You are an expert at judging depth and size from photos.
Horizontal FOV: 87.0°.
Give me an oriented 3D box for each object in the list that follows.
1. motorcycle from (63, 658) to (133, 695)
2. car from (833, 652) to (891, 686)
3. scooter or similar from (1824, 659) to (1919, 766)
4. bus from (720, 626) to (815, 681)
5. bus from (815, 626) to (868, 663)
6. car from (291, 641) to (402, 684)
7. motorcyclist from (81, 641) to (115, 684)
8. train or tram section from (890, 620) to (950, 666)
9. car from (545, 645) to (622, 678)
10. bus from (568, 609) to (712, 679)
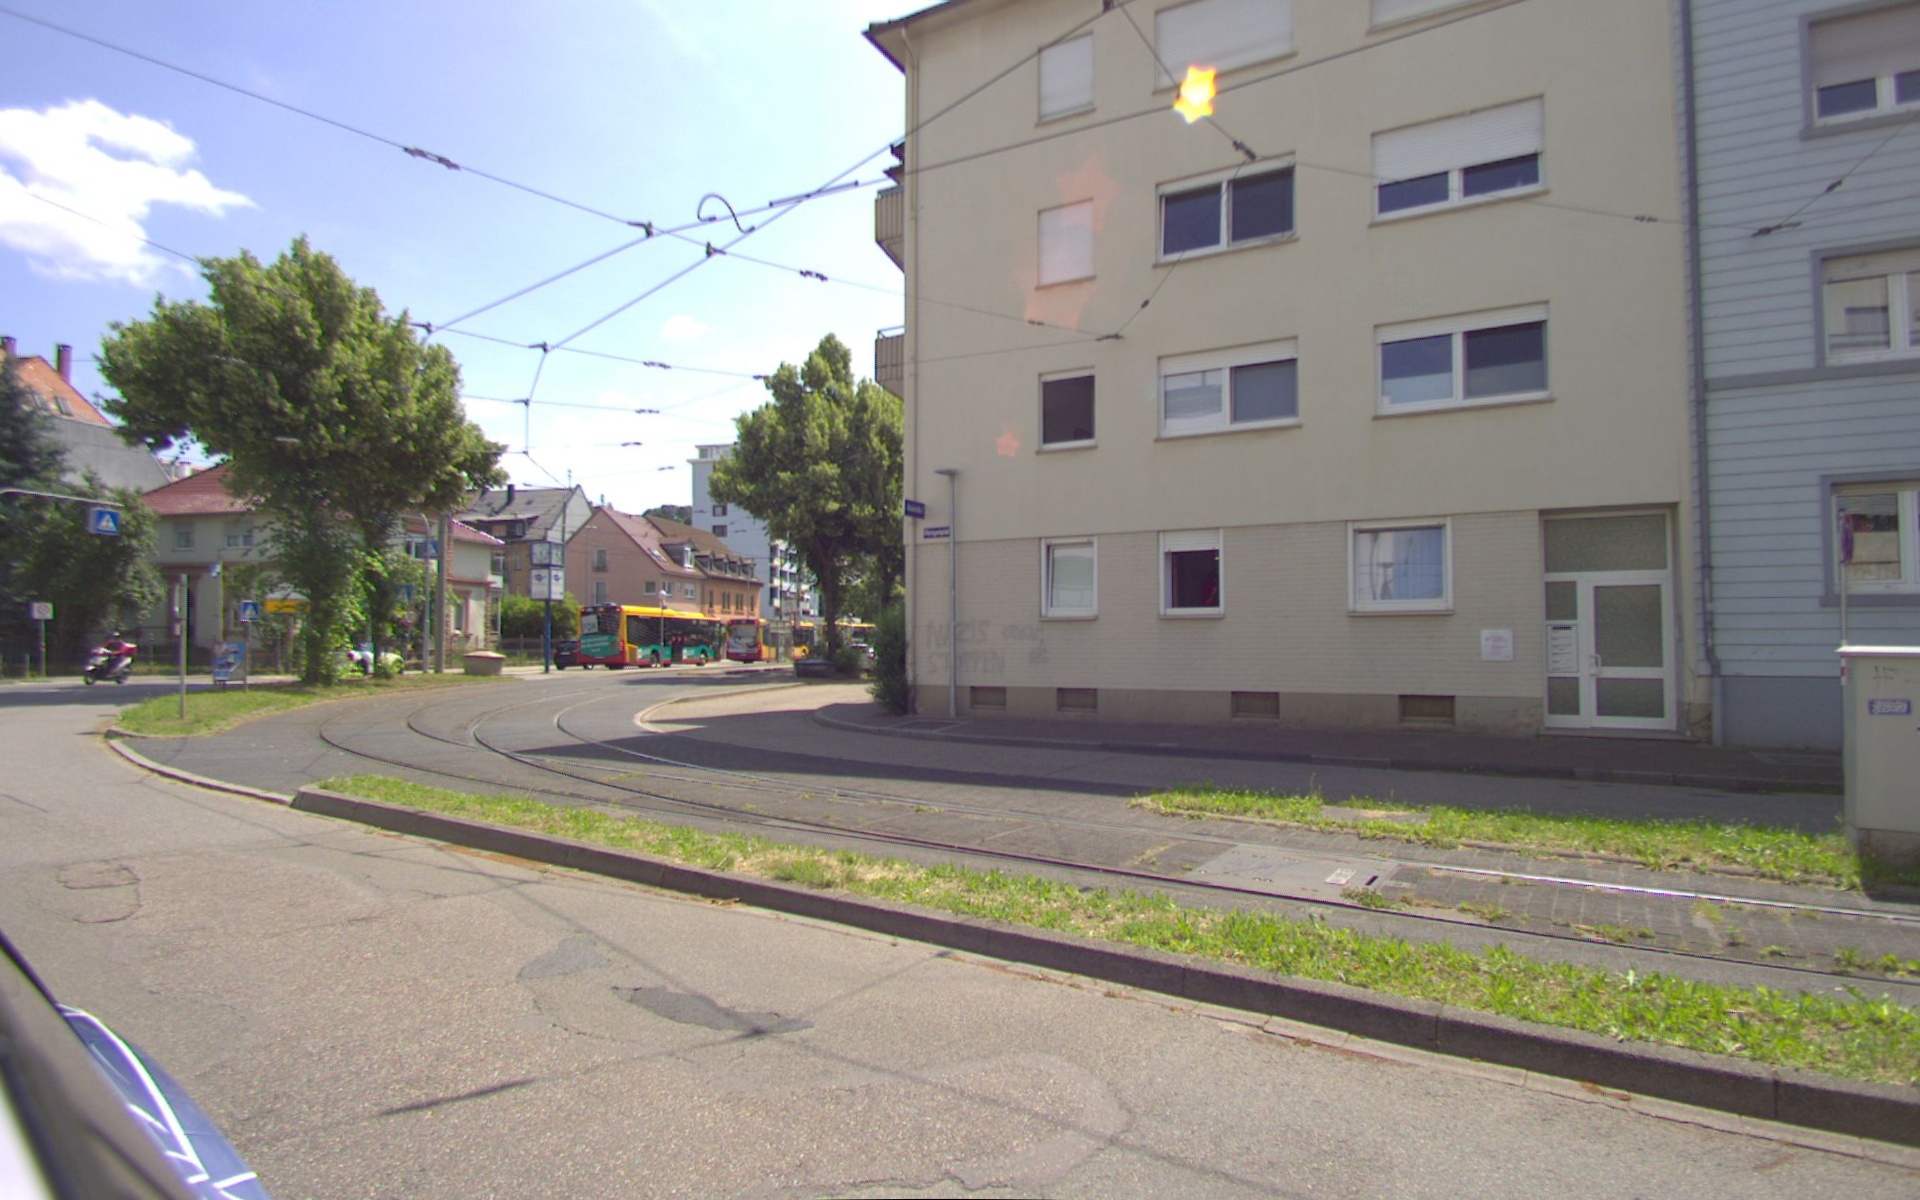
[{"bbox_3d":[-25.623,2.264,30.097,0.664,1.066,1.426,-1,-3,20],"label":"motorcycle"},{"bbox_3d":[-4.458,3.117,46.417,1.823,1.494,3.946,-1,-3,8],"label":"car"},{"bbox_3d":[11.329,1.332,12.137,1.315,1.232,0.634,-2,-3,29],"label":"scooter or similar"},{"bbox_3d":[-13.550,3.874,72.822,2.667,3.635,12.169,-1,-3,9],"label":"bus"},{"bbox_3d":[-10.805,4.215,93.472,2.546,3.213,10.131,0,-3,7],"label":"bus"},{"bbox_3d":[-21.994,2.220,36.475,1.754,1.475,3.747,1,-3,-1],"label":"car"},{"bbox_3d":[-25.621,1.860,30.084,0.537,1.252,0.551,-1,-3,20],"label":"motorcyclist"},{"bbox_3d":[-3.208,3.691,86.639,2.864,3.547,13.870,-1,-3,7],"label":"train or tram section"},{"bbox_3d":[-19.820,3.257,53.506,1.843,1.644,4.312,-1,-4,11],"label":"car"},{"bbox_3d":[-16.690,2.433,53.900,2.678,3.322,10.824,-1,-4,9],"label":"bus"}]
